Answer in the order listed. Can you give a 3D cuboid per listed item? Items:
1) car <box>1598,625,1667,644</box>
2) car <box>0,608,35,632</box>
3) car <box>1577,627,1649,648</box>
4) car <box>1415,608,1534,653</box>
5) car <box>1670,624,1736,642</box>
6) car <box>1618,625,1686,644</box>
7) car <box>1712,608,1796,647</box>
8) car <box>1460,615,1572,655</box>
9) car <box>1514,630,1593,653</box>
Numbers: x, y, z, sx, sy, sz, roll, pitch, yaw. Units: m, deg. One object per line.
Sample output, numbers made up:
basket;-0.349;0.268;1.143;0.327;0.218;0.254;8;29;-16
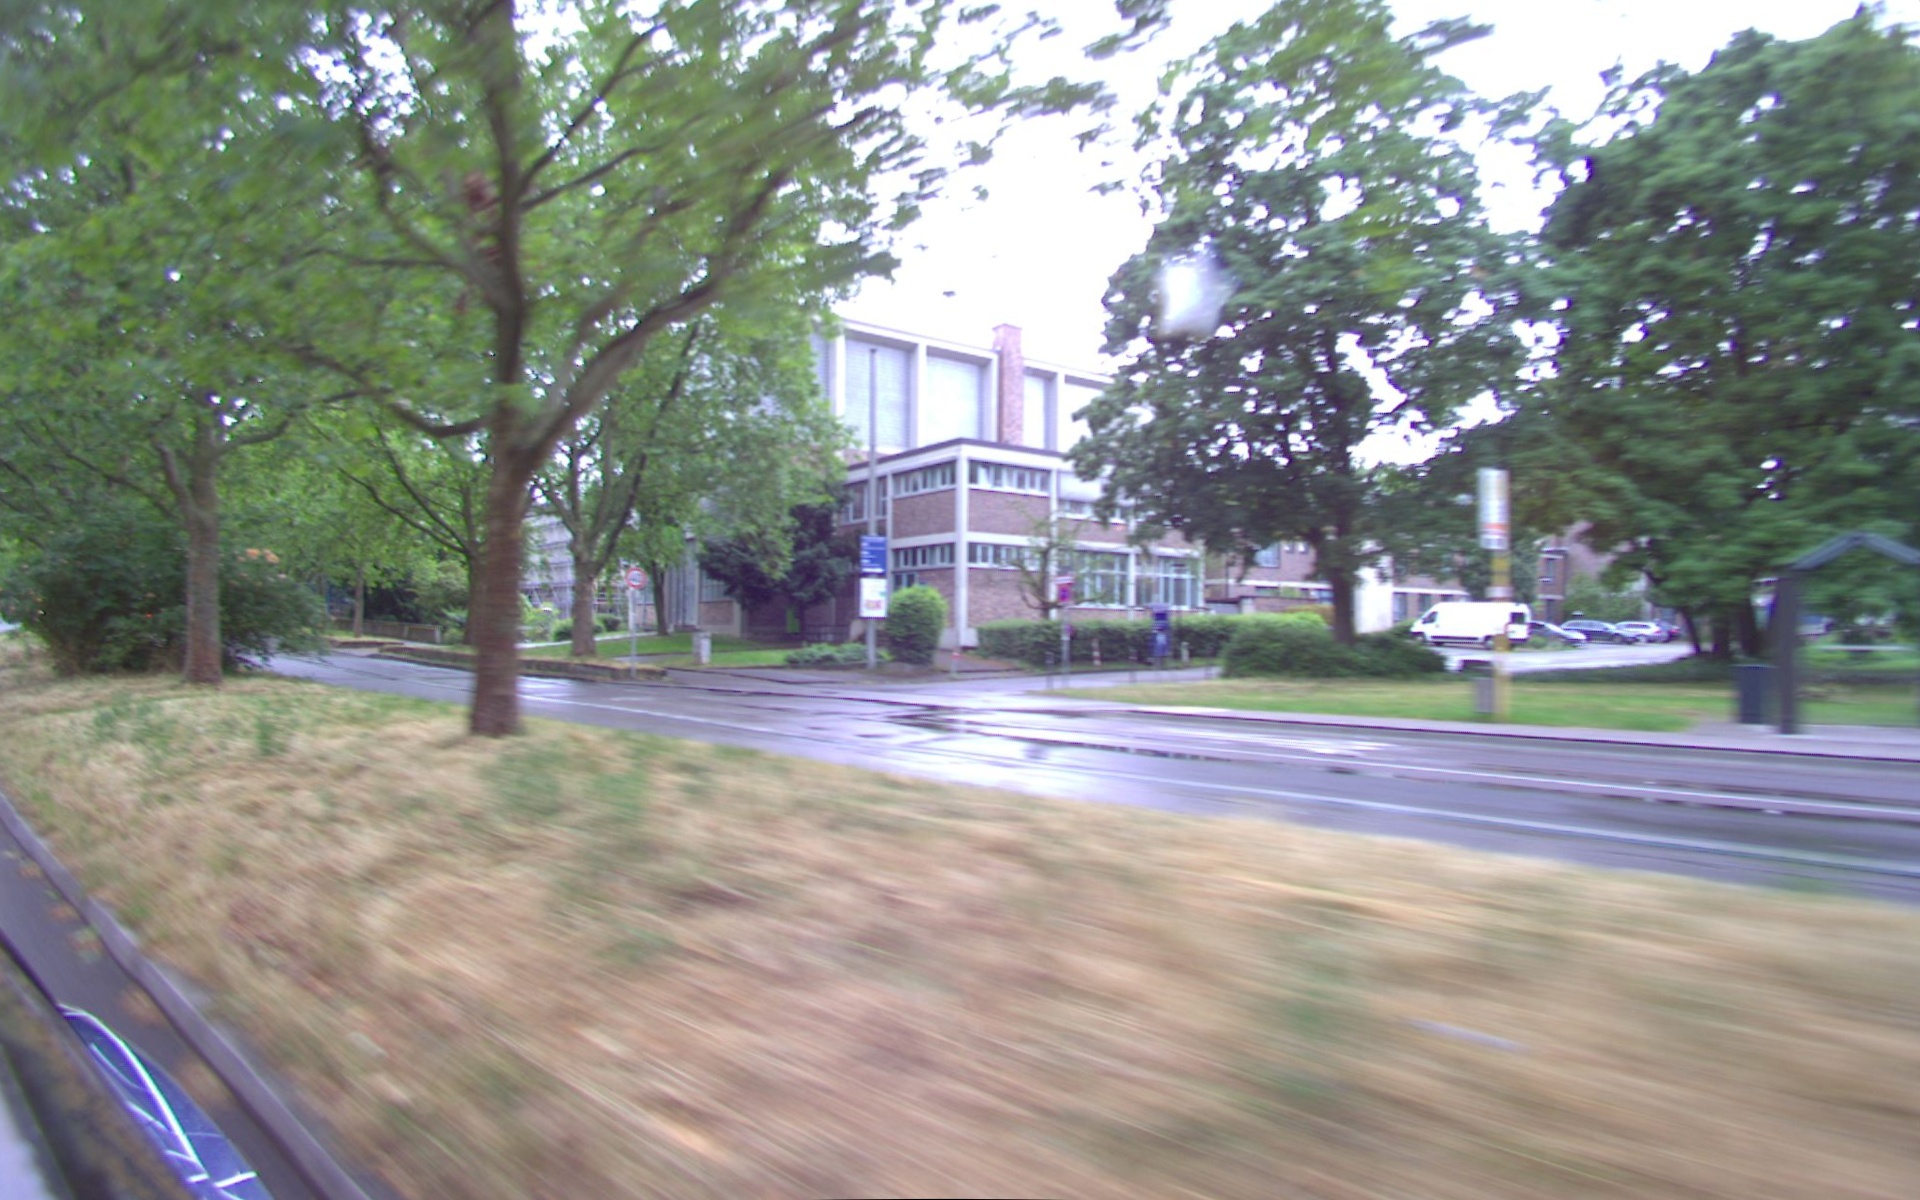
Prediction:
car;45.112;2.276;67.928;1.566;1.151;3.565;0;0;-35
car;-84.374;1.796;90.655;1.857;1.889;4.749;-7;4;-40
car;41.772;2.366;64.796;1.566;1.151;3.565;0;0;-35
car;27.966;1.597;55.219;2.080;2.229;5.483;0;0;-32
car;53.869;2.353;73.422;1.566;1.151;3.565;0;0;-35
car;47.427;2.339;69.400;1.566;1.151;3.565;0;0;-35
car;63.733;2.151;81.239;6.357;2.838;3.608;0;0;-35
car;31.380;1.920;57.216;2.250;2.037;5.092;0;0;-35
car;34.204;2.365;58.374;1.662;1.151;3.565;0;0;-35
